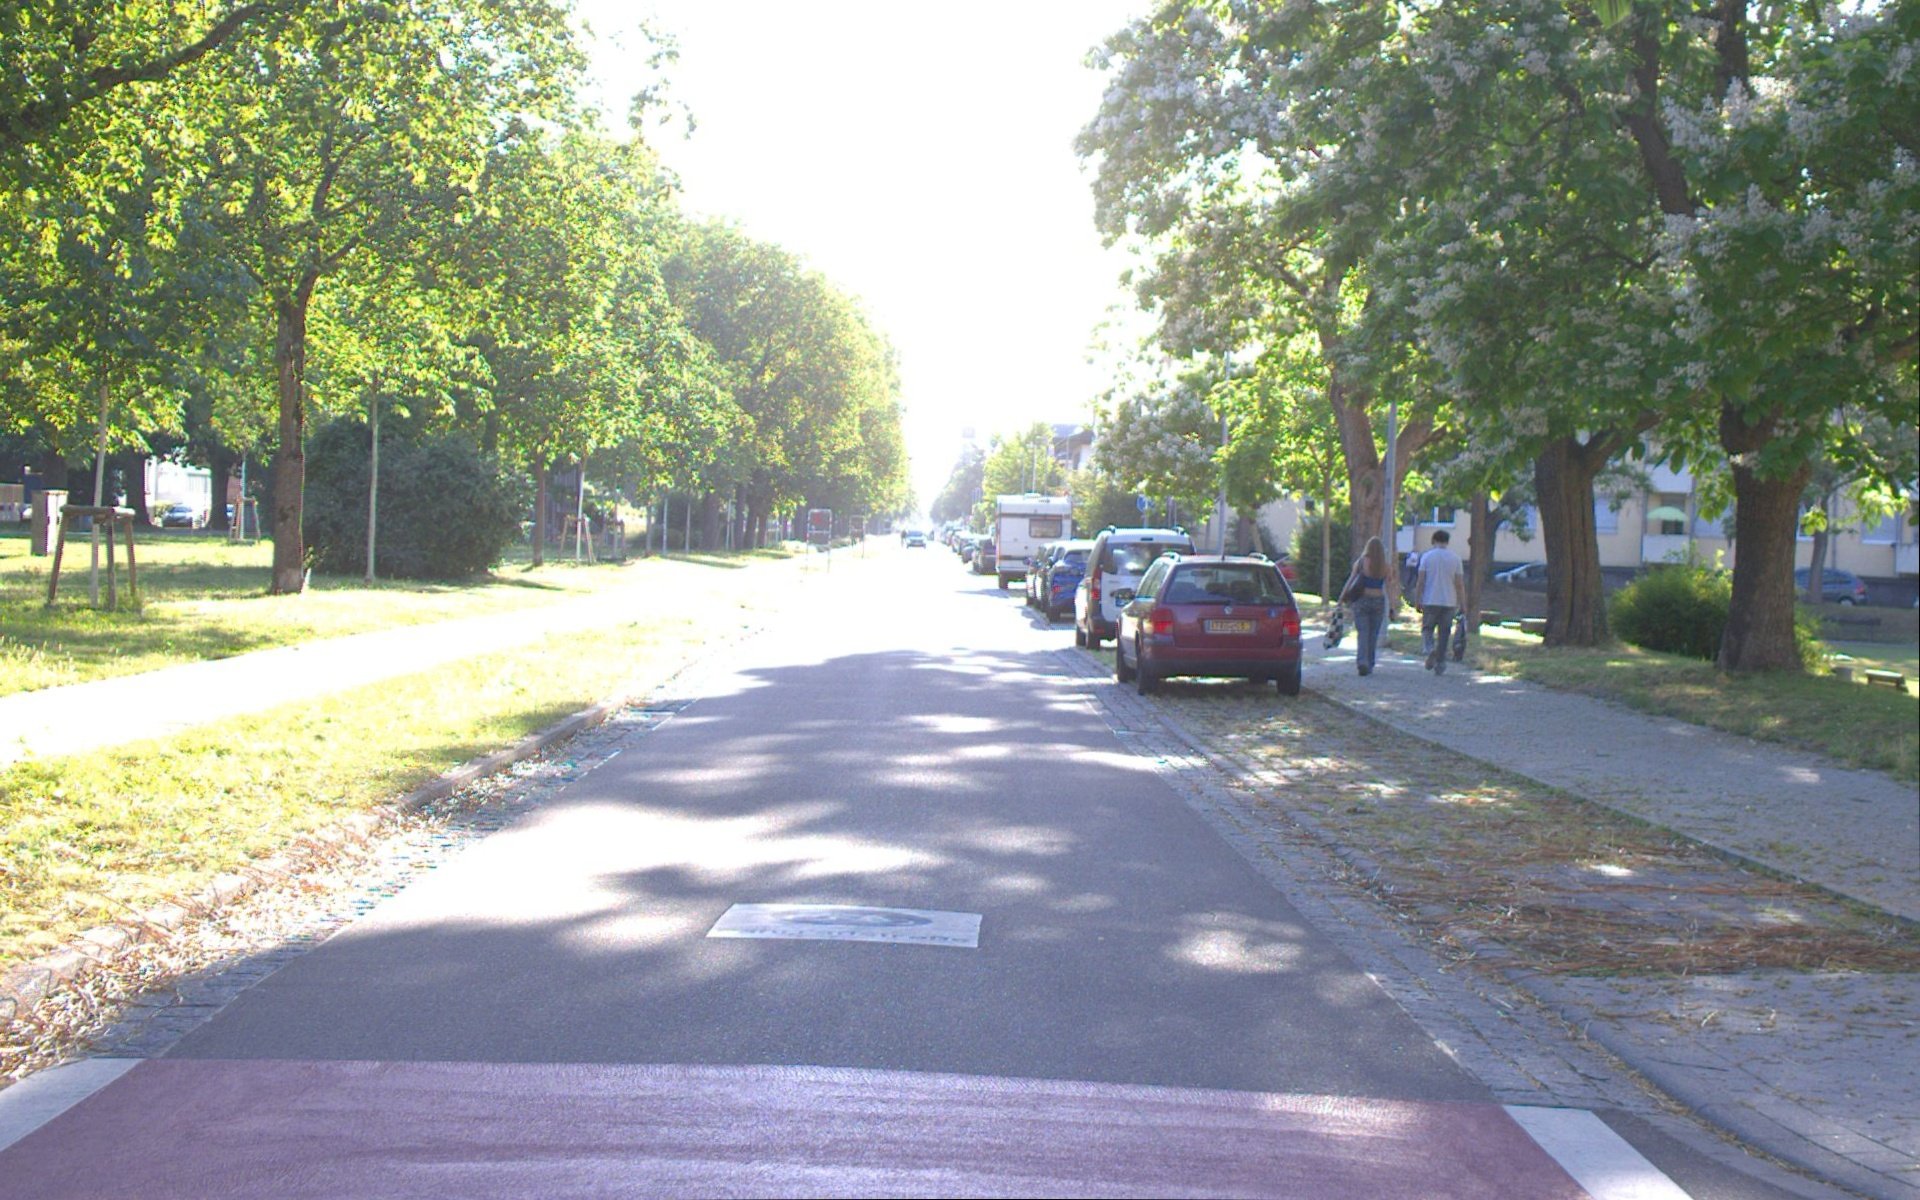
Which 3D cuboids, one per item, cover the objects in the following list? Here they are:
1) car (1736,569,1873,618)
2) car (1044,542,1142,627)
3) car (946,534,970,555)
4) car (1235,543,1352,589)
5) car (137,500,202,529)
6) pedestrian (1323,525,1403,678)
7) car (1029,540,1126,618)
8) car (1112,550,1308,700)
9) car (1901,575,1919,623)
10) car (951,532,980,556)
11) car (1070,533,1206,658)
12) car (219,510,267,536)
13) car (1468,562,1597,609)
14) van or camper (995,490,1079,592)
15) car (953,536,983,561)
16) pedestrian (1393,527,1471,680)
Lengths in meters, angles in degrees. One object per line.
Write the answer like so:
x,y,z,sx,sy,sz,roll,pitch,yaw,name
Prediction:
30.024,-0.220,122.207,4.515,1.564,1.879,2,1,19,car
2.549,-0.325,66.887,1.732,1.545,4.275,2,1,1,car
-0.122,-3.964,246.909,1.626,1.405,4.249,2,1,-1,car
12.234,-1.242,126.306,4.195,1.525,2.000,2,1,4,car
-45.132,-4.890,196.408,2.507,1.503,4.913,2,1,0,car
4.708,0.008,40.199,0.753,1.730,0.732,3,1,0,pedestrian
2.461,-0.468,73.138,1.731,1.545,4.423,2,1,-2,car
2.668,0.227,37.627,1.678,1.481,4.810,2,1,-1,car
33.331,0.029,113.717,3.993,1.546,1.608,2,1,27,car
0.319,-3.427,210.871,1.626,1.405,4.249,2,1,-1,car
2.622,-0.090,51.467,1.678,1.734,4.514,2,1,-1,car
-43.785,-4.692,209.923,1.993,1.503,4.115,2,1,0,car
19.792,-0.515,118.856,4.198,1.457,1.692,2,1,15,car
2.299,-1.747,104.417,2.234,2.894,5.673,2,0,-1,van or camper
0.441,-2.976,199.493,1.626,1.405,4.249,2,1,-1,car
5.521,0.032,40.255,0.725,1.730,0.732,3,1,0,pedestrian
